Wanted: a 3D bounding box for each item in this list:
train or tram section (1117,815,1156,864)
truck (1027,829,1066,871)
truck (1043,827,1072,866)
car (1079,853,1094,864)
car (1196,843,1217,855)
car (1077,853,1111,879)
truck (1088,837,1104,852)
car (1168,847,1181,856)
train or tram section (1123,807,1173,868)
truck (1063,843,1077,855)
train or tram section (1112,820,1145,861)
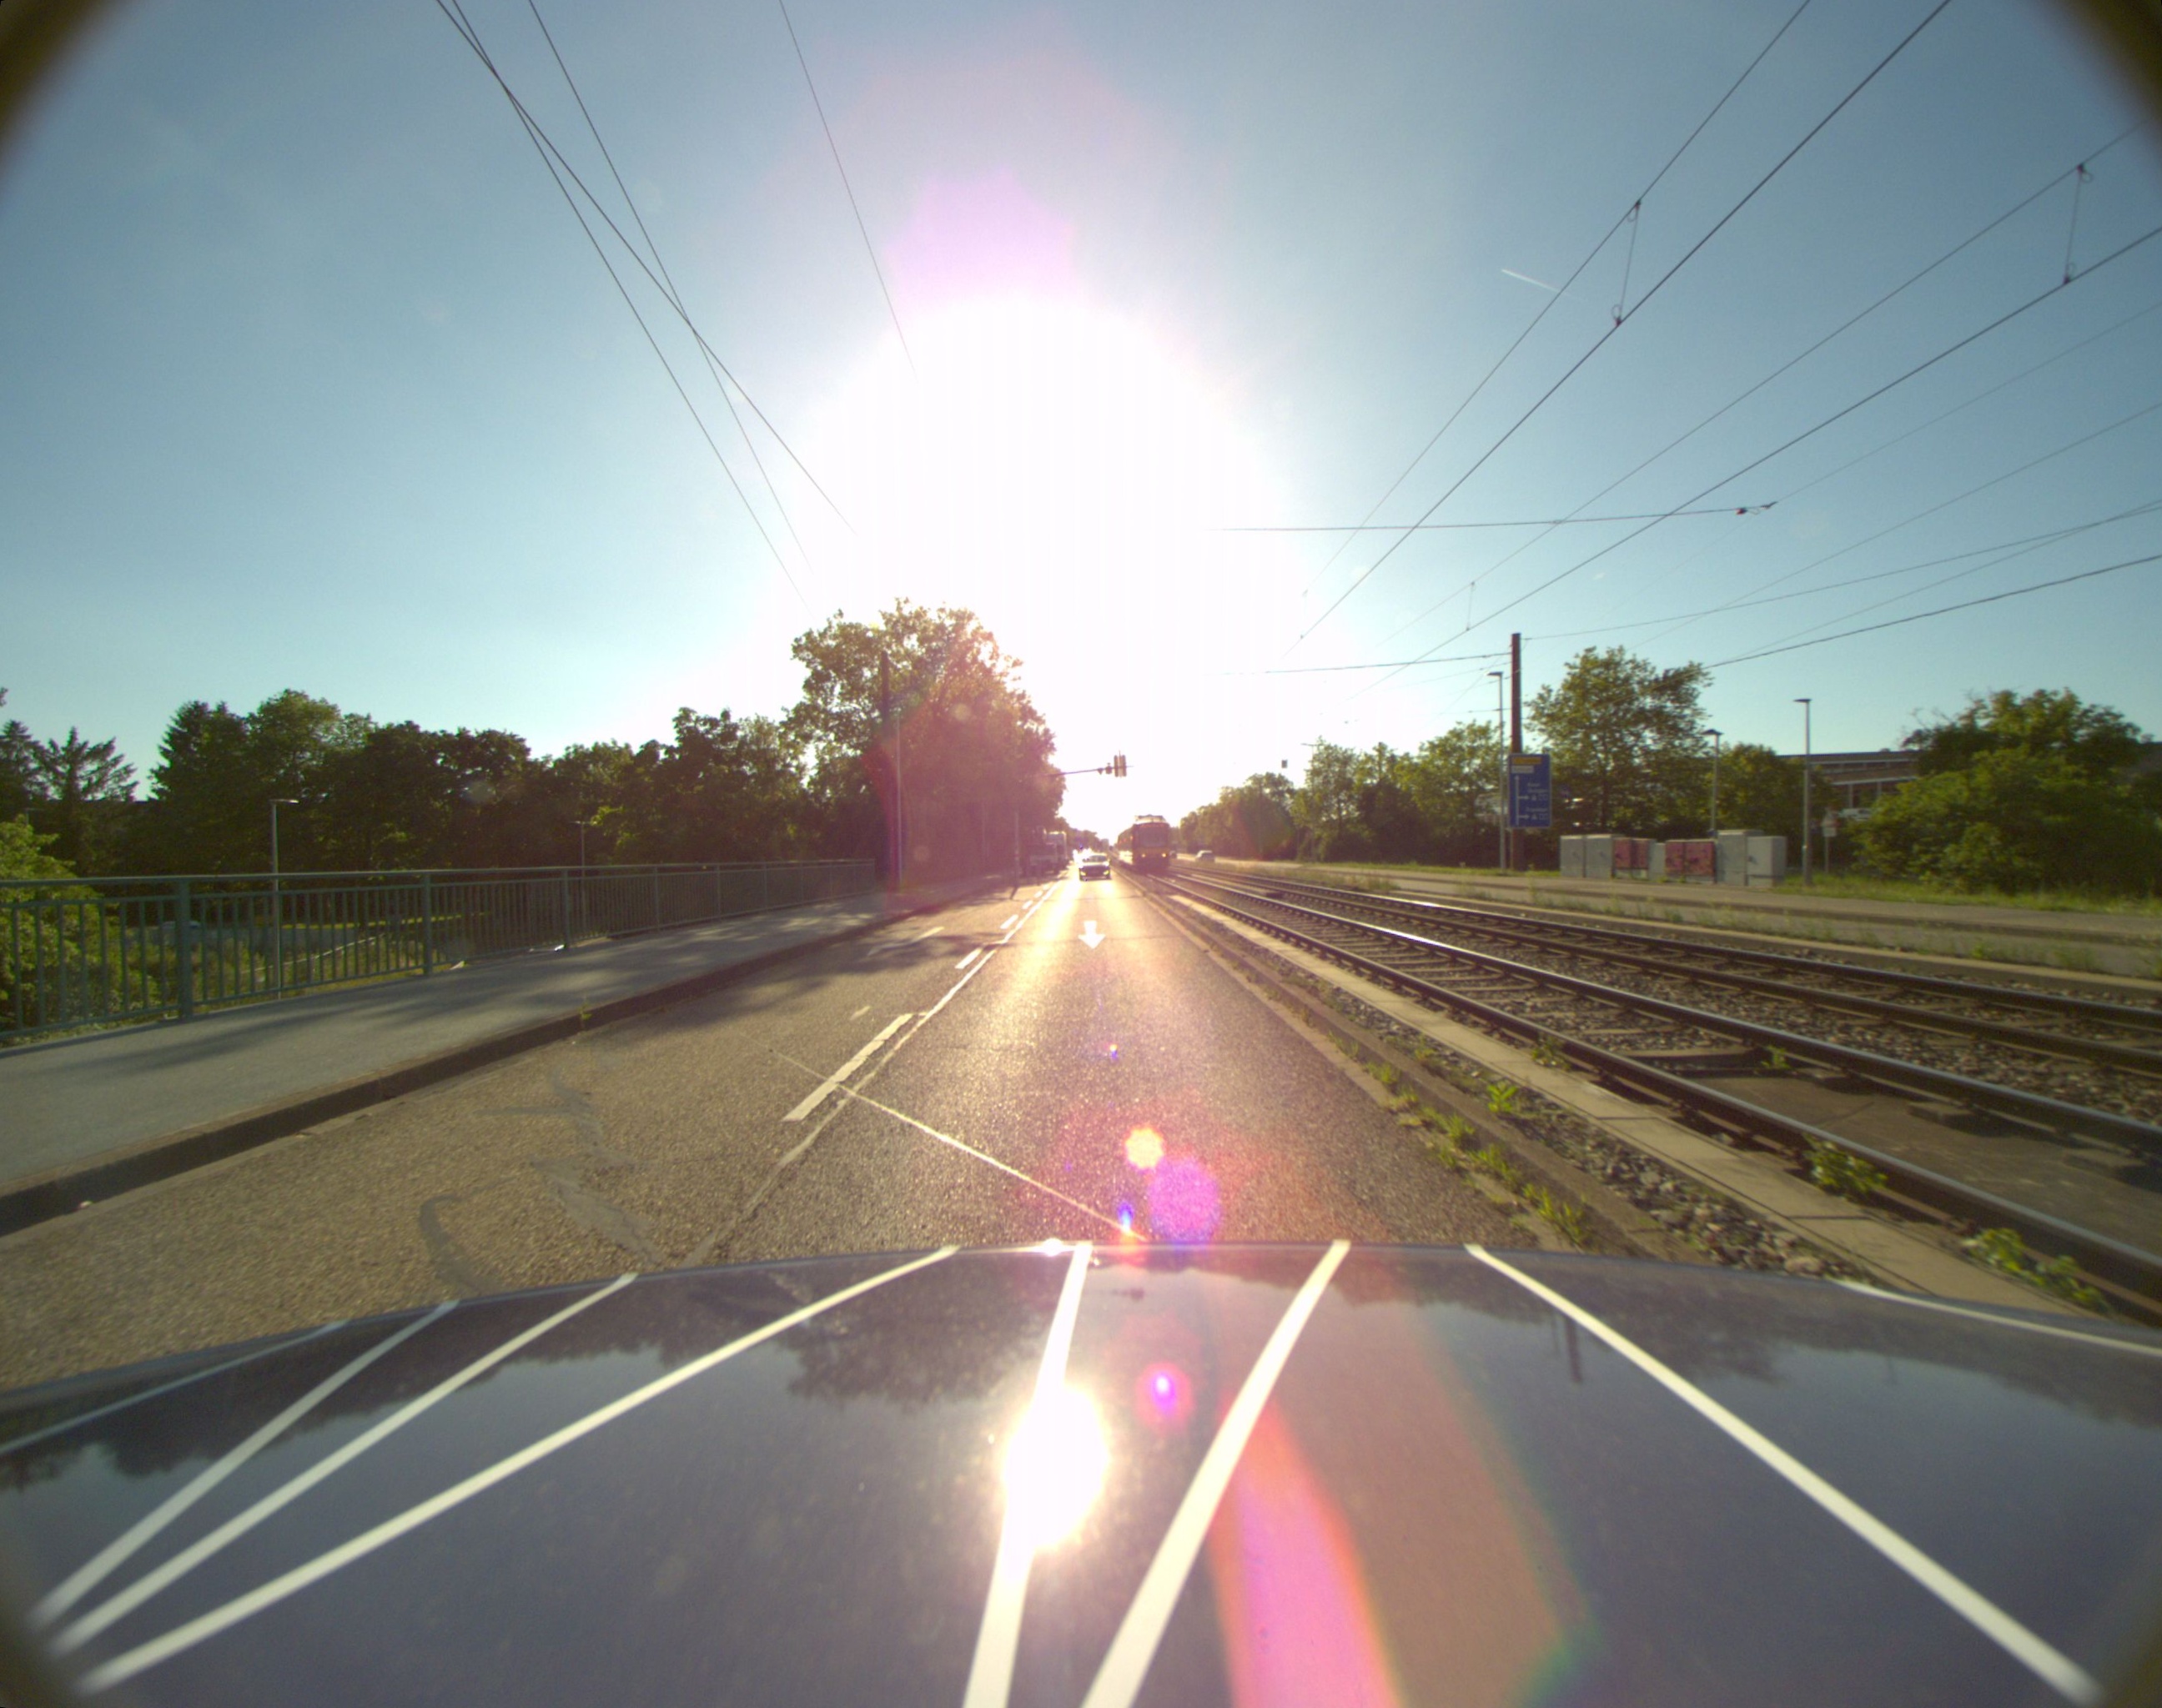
[{"bbox_3d":[4.708,-1.220,66.483,2.569,3.878,11.671,-1,0,0],"label":"train or tram section"},{"bbox_3d":[-2.732,-0.301,62.745,2.610,3.186,7.870,-1,0,1],"label":"truck"},{"bbox_3d":[-2.414,-0.799,79.353,2.559,3.826,7.870,-1,1,1],"label":"truck"},{"bbox_3d":[0.746,0.566,96.900,1.801,1.345,4.000,-1,0,2],"label":"car"},{"bbox_3d":[14.597,-0.596,88.677,1.801,1.345,3.999,-3,1,1],"label":"car"},{"bbox_3d":[0.753,0.647,42.671,1.801,1.345,4.000,-1,0,1],"label":"car"},{"bbox_3d":[3.497,-2.190,177.862,3.313,3.283,15.321,-1,0,1],"label":"truck"},{"bbox_3d":[16.487,-0.423,133.881,1.801,1.345,3.999,-3,1,1],"label":"car"},{"bbox_3d":[4.648,-1.104,54.801,2.569,3.878,11.671,-1,0,0],"label":"train or tram section"},{"bbox_3d":[-1.750,-0.819,128.159,2.097,1.961,6.027,-1,0,2],"label":"truck"},{"bbox_3d":[4.769,-1.309,78.158,2.569,3.878,11.671,-1,0,0],"label":"train or tram section"}]
